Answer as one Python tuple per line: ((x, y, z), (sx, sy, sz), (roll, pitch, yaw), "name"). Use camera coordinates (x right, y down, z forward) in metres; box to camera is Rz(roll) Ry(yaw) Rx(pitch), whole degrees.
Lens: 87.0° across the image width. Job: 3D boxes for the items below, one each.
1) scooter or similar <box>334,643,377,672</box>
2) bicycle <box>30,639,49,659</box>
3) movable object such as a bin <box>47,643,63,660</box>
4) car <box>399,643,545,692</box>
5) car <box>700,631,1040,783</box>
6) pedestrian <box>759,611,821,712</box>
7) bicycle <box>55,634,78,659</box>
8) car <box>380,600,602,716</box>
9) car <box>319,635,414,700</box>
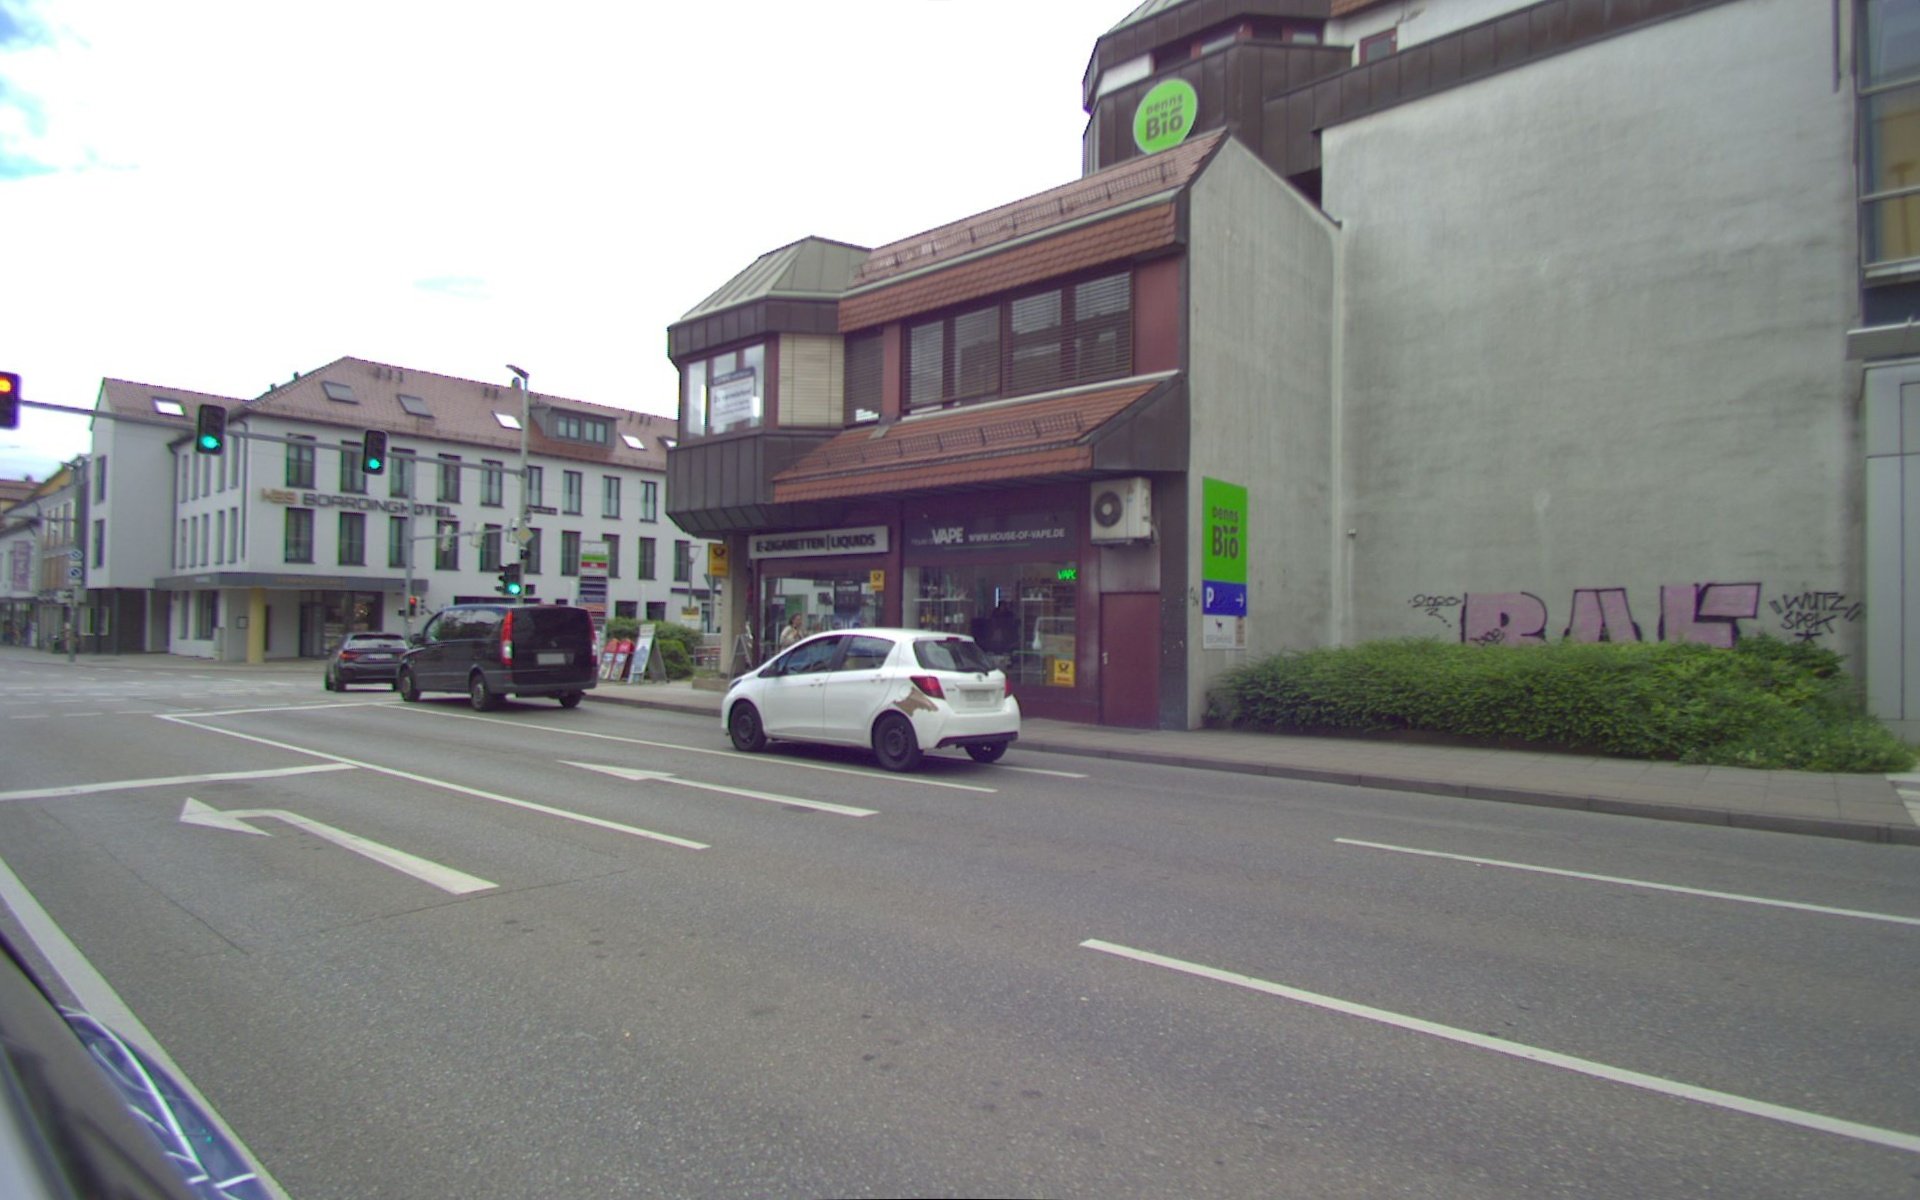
((-26.558, 2.526, 44.476), (1.552, 1.167, 0.426), (3, -2, -1), "scooter or similar")
((-51.738, 2.746, 56.875), (1.901, 1.109, 0.566), (-2, -2, 41), "bicycle")
((-48.557, 2.742, 54.307), (0.506, 0.906, 0.545), (-2, -2, 39), "movable object such as a bin")
((-16.278, 2.239, 34.032), (1.752, 1.529, 4.353), (-1, -3, 22), "car")
((-1.160, 1.114, 11.826), (3.998, 1.477, 1.643), (-1, -3, 41), "car")
((-2.981, 1.065, 17.784), (0.776, 1.706, 0.742), (-2, -3, 36), "pedestrian")
((-46.521, 2.411, 52.691), (2.117, 1.241, 0.576), (-2, -2, 40), "bicycle")
((-8.993, 1.047, 19.187), (5.111, 1.924, 1.846), (-1, -3, 41), "car")
((-14.859, 1.610, 25.260), (1.679, 1.454, 4.010), (1, -2, -35), "car")
